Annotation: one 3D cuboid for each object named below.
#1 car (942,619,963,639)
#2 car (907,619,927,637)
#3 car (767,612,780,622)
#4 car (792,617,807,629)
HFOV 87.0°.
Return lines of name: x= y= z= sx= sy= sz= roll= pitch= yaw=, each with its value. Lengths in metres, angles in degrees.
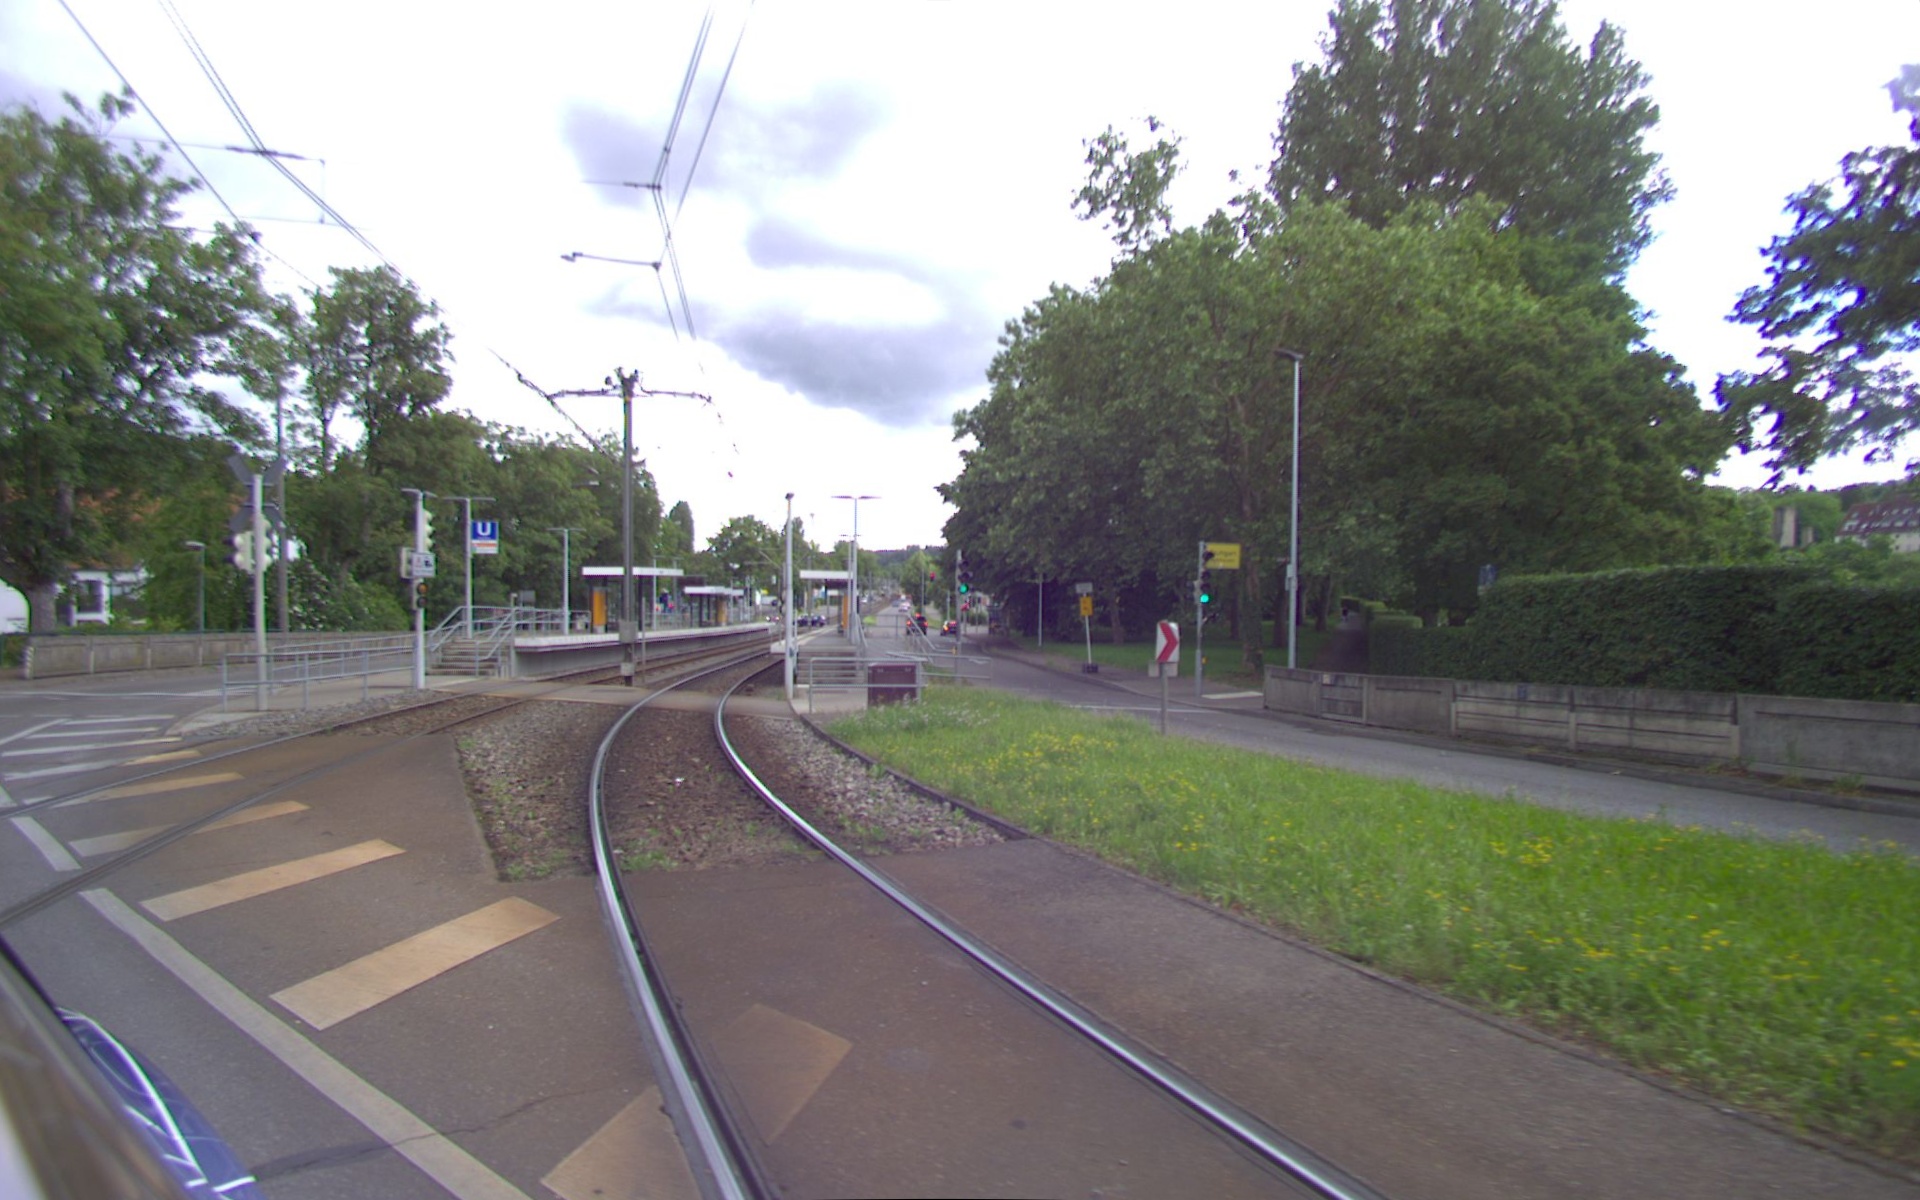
car: x=-0.773 y=2.777 z=98.437 sx=1.716 sy=1.853 sz=3.803 roll=1 pitch=-2 yaw=-4
car: x=-4.197 y=2.752 z=98.913 sx=1.745 sy=1.712 sz=3.797 roll=1 pitch=-2 yaw=-4
car: x=-26.515 y=2.406 z=143.907 sx=1.690 sy=1.294 sz=3.579 roll=2 pitch=-2 yaw=-7
car: x=-19.907 y=2.863 z=125.480 sx=1.677 sy=1.489 sz=3.713 roll=2 pitch=-2 yaw=-7
